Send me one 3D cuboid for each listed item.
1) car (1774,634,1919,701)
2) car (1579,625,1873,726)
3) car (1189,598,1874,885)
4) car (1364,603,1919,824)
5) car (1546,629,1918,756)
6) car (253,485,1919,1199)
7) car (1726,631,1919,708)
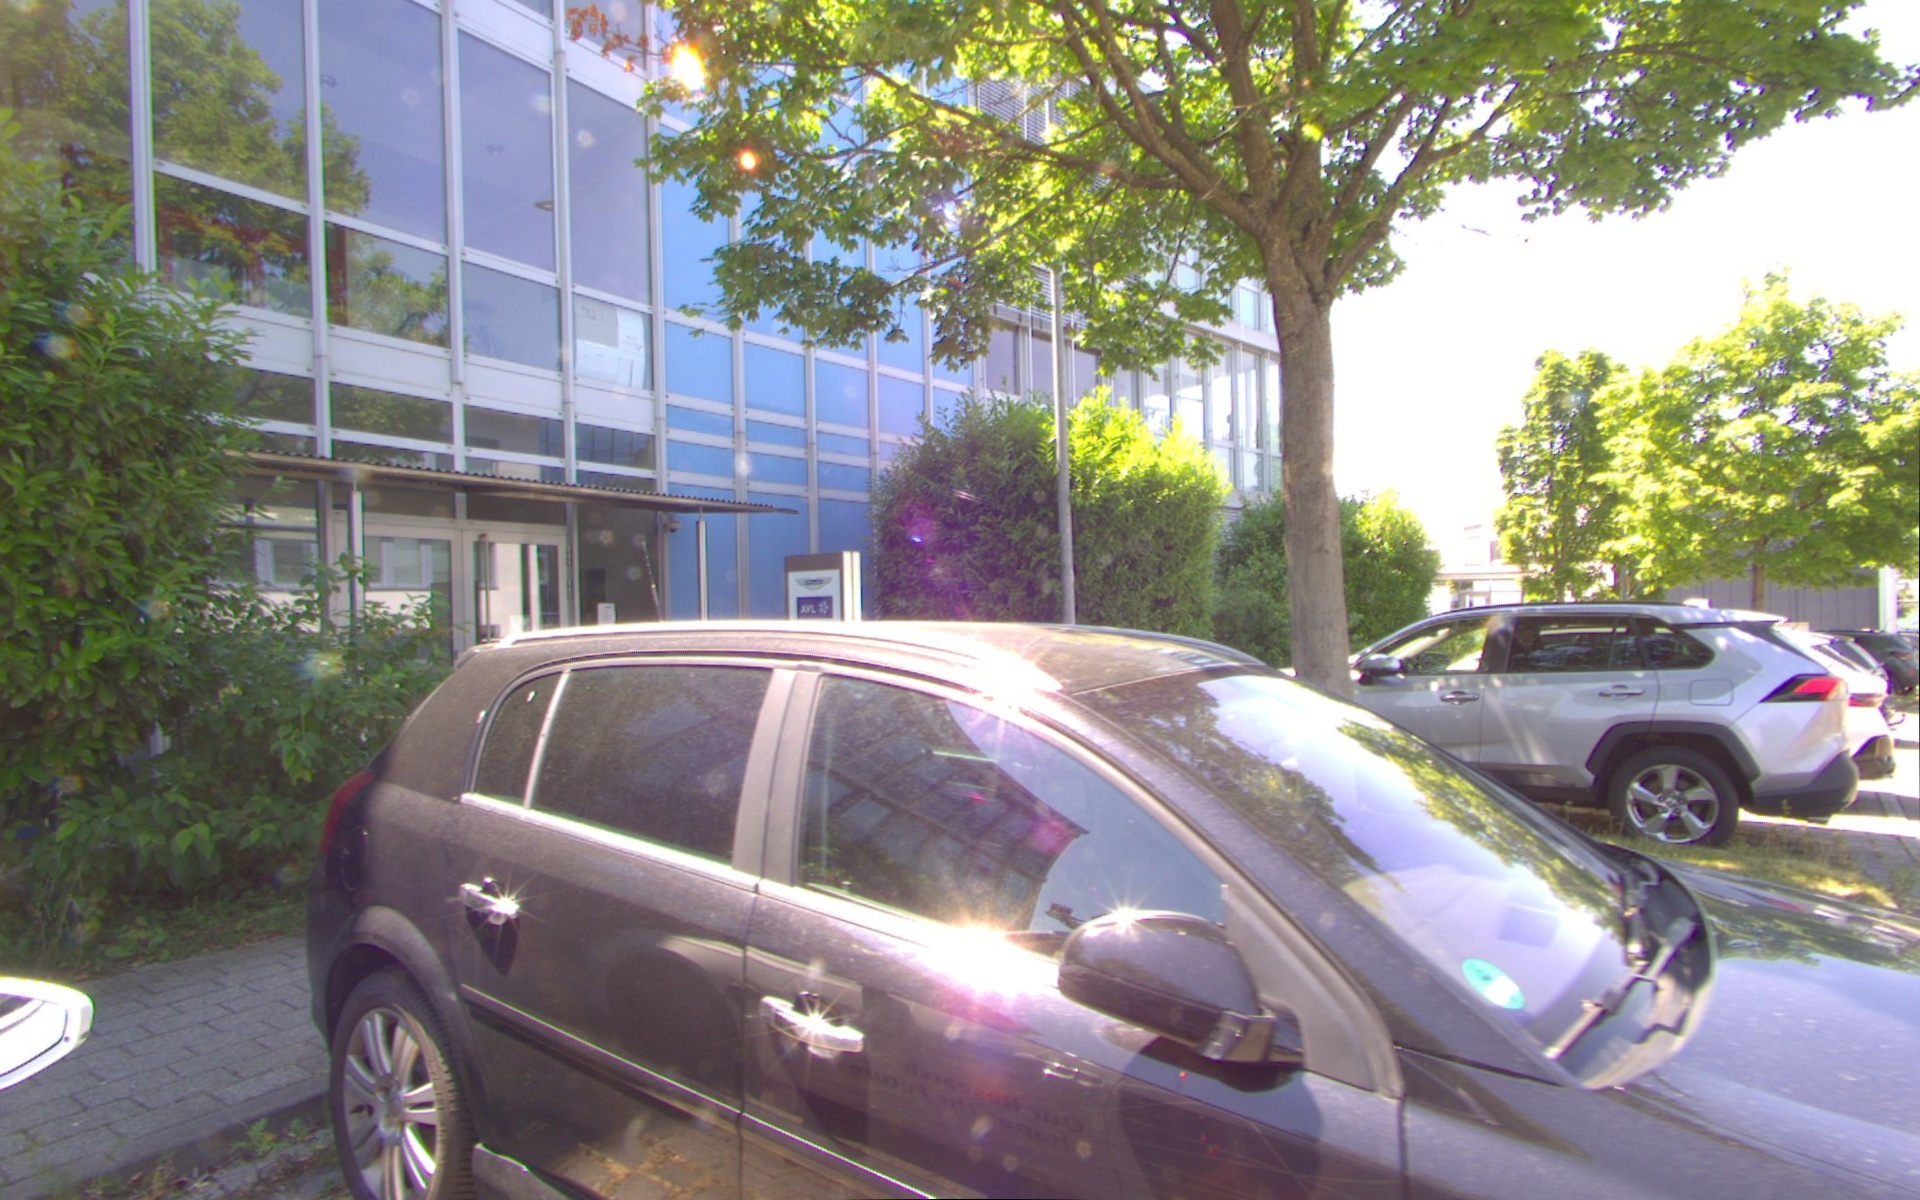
[{"bbox_3d":[21.878,1.590,23.856,1.615,1.462,3.566,2,-1,-34],"label":"car"},{"bbox_3d":[14.344,1.336,18.968,1.642,1.626,4.144,2,-1,-38],"label":"car"},{"bbox_3d":[4.192,0.850,7.902,4.277,1.664,1.845,0,-1,38],"label":"car"},{"bbox_3d":[6.245,0.893,9.542,4.149,1.664,1.650,0,-1,38],"label":"car"},{"bbox_3d":[11.139,1.224,14.654,1.645,1.505,4.135,2,-1,-45],"label":"car"},{"bbox_3d":[0.343,0.732,2.220,4.505,1.569,1.753,-1,-2,36],"label":"car"},{"bbox_3d":[19.824,1.522,22.711,1.615,1.545,3.566,2,-1,-34],"label":"car"}]
